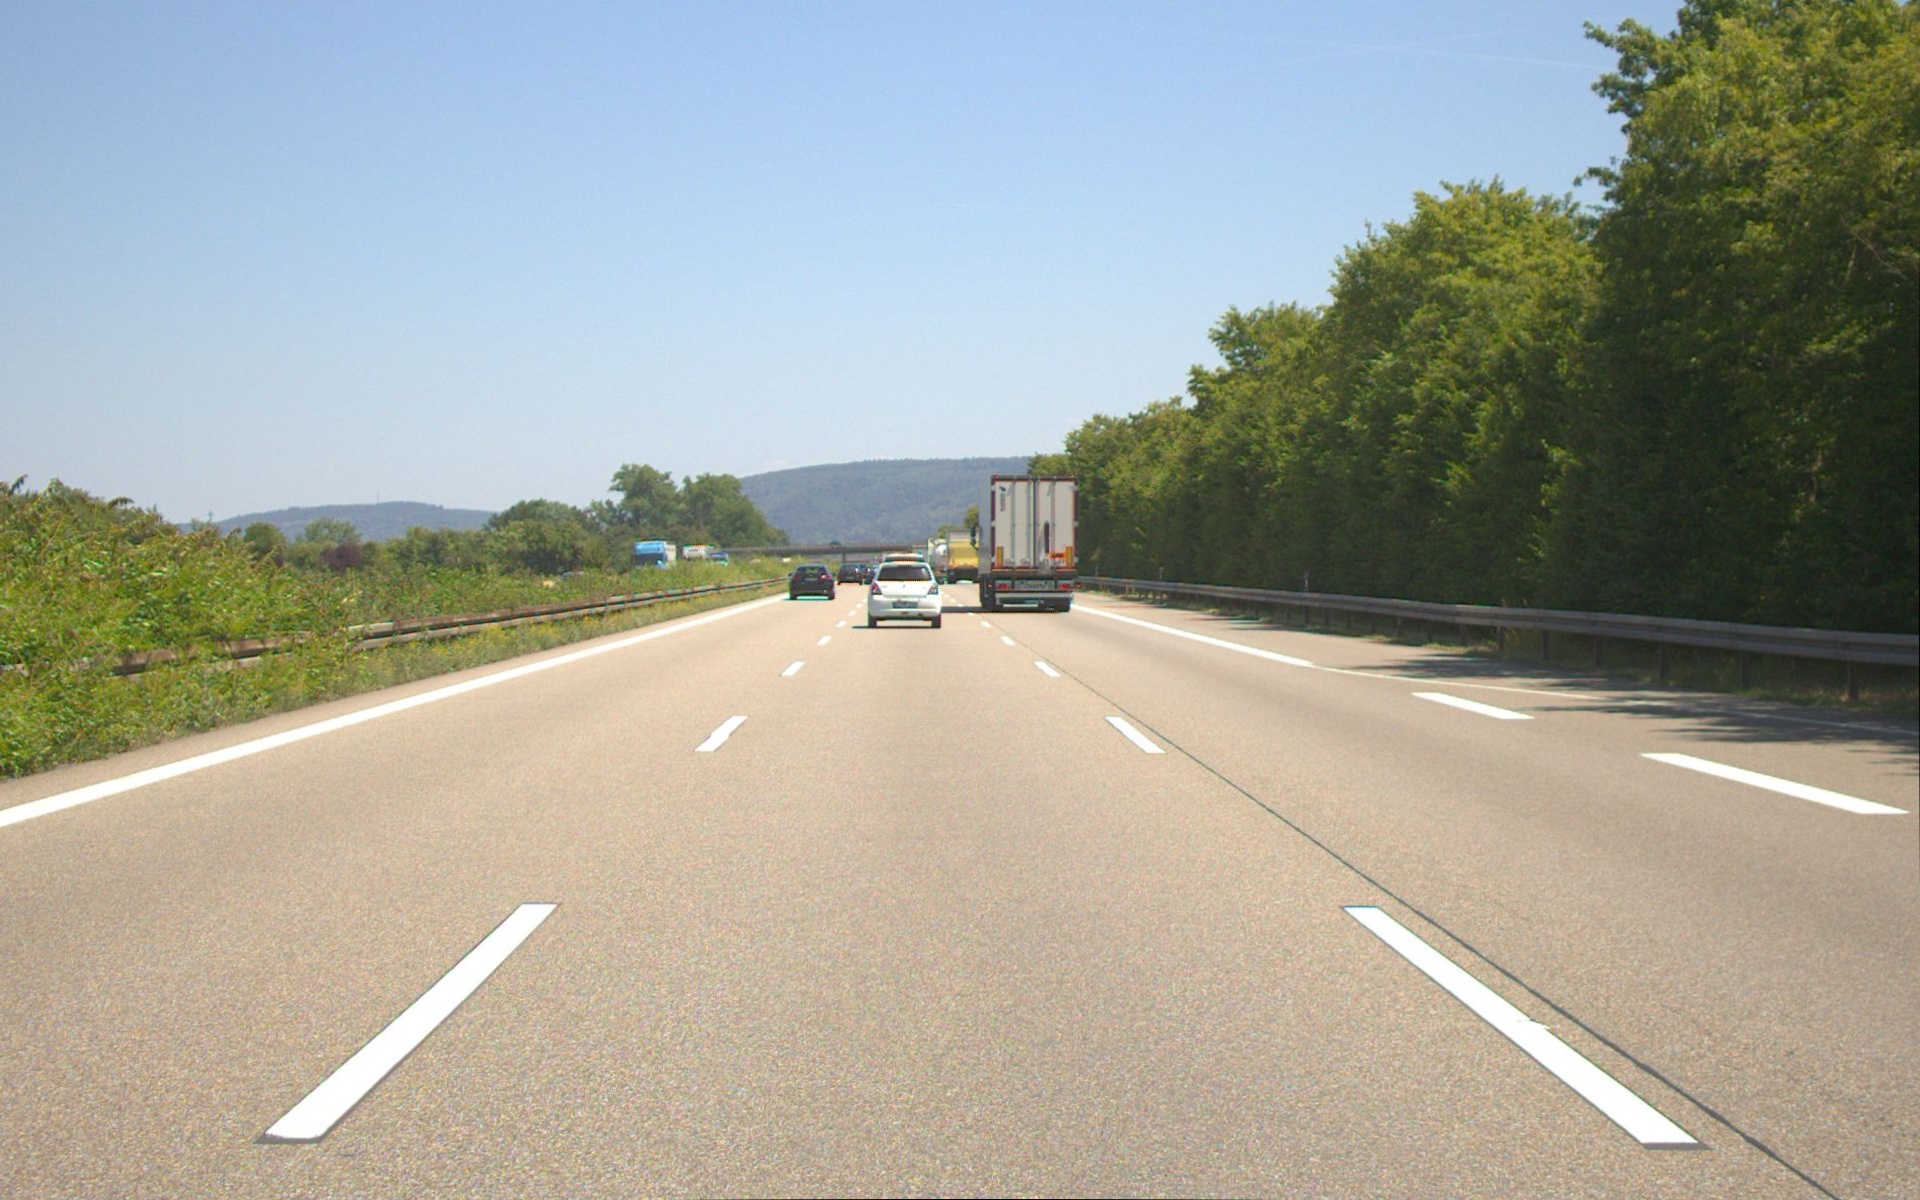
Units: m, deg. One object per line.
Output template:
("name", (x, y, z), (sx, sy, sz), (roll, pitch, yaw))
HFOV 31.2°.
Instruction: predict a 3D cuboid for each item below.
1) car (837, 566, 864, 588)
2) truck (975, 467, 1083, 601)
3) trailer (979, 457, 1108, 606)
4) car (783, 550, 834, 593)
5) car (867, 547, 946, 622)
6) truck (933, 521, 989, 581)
("car", (-7.584, -1.600, 237.842), (1.795, 1.545, 4.000), (0, 0, -1))
("truck", (2.261, -2.205, 115.643), (3.217, 4.330, 6.591), (1, 1, -2))
("trailer", (2.499, -2.111, 108.130), (3.217, 4.330, 13.630), (1, 1, -2))
("car", (-6.088, -1.163, 138.834), (1.993, 1.706, 4.000), (1, 1, -2))
("car", (-1.263, -0.382, 79.587), (1.732, 1.678, 4.000), (-1, 1, -2))
("truck", (0.033, -3.653, 258.357), (3.871, 4.330, 13.861), (1, 1, -1))
